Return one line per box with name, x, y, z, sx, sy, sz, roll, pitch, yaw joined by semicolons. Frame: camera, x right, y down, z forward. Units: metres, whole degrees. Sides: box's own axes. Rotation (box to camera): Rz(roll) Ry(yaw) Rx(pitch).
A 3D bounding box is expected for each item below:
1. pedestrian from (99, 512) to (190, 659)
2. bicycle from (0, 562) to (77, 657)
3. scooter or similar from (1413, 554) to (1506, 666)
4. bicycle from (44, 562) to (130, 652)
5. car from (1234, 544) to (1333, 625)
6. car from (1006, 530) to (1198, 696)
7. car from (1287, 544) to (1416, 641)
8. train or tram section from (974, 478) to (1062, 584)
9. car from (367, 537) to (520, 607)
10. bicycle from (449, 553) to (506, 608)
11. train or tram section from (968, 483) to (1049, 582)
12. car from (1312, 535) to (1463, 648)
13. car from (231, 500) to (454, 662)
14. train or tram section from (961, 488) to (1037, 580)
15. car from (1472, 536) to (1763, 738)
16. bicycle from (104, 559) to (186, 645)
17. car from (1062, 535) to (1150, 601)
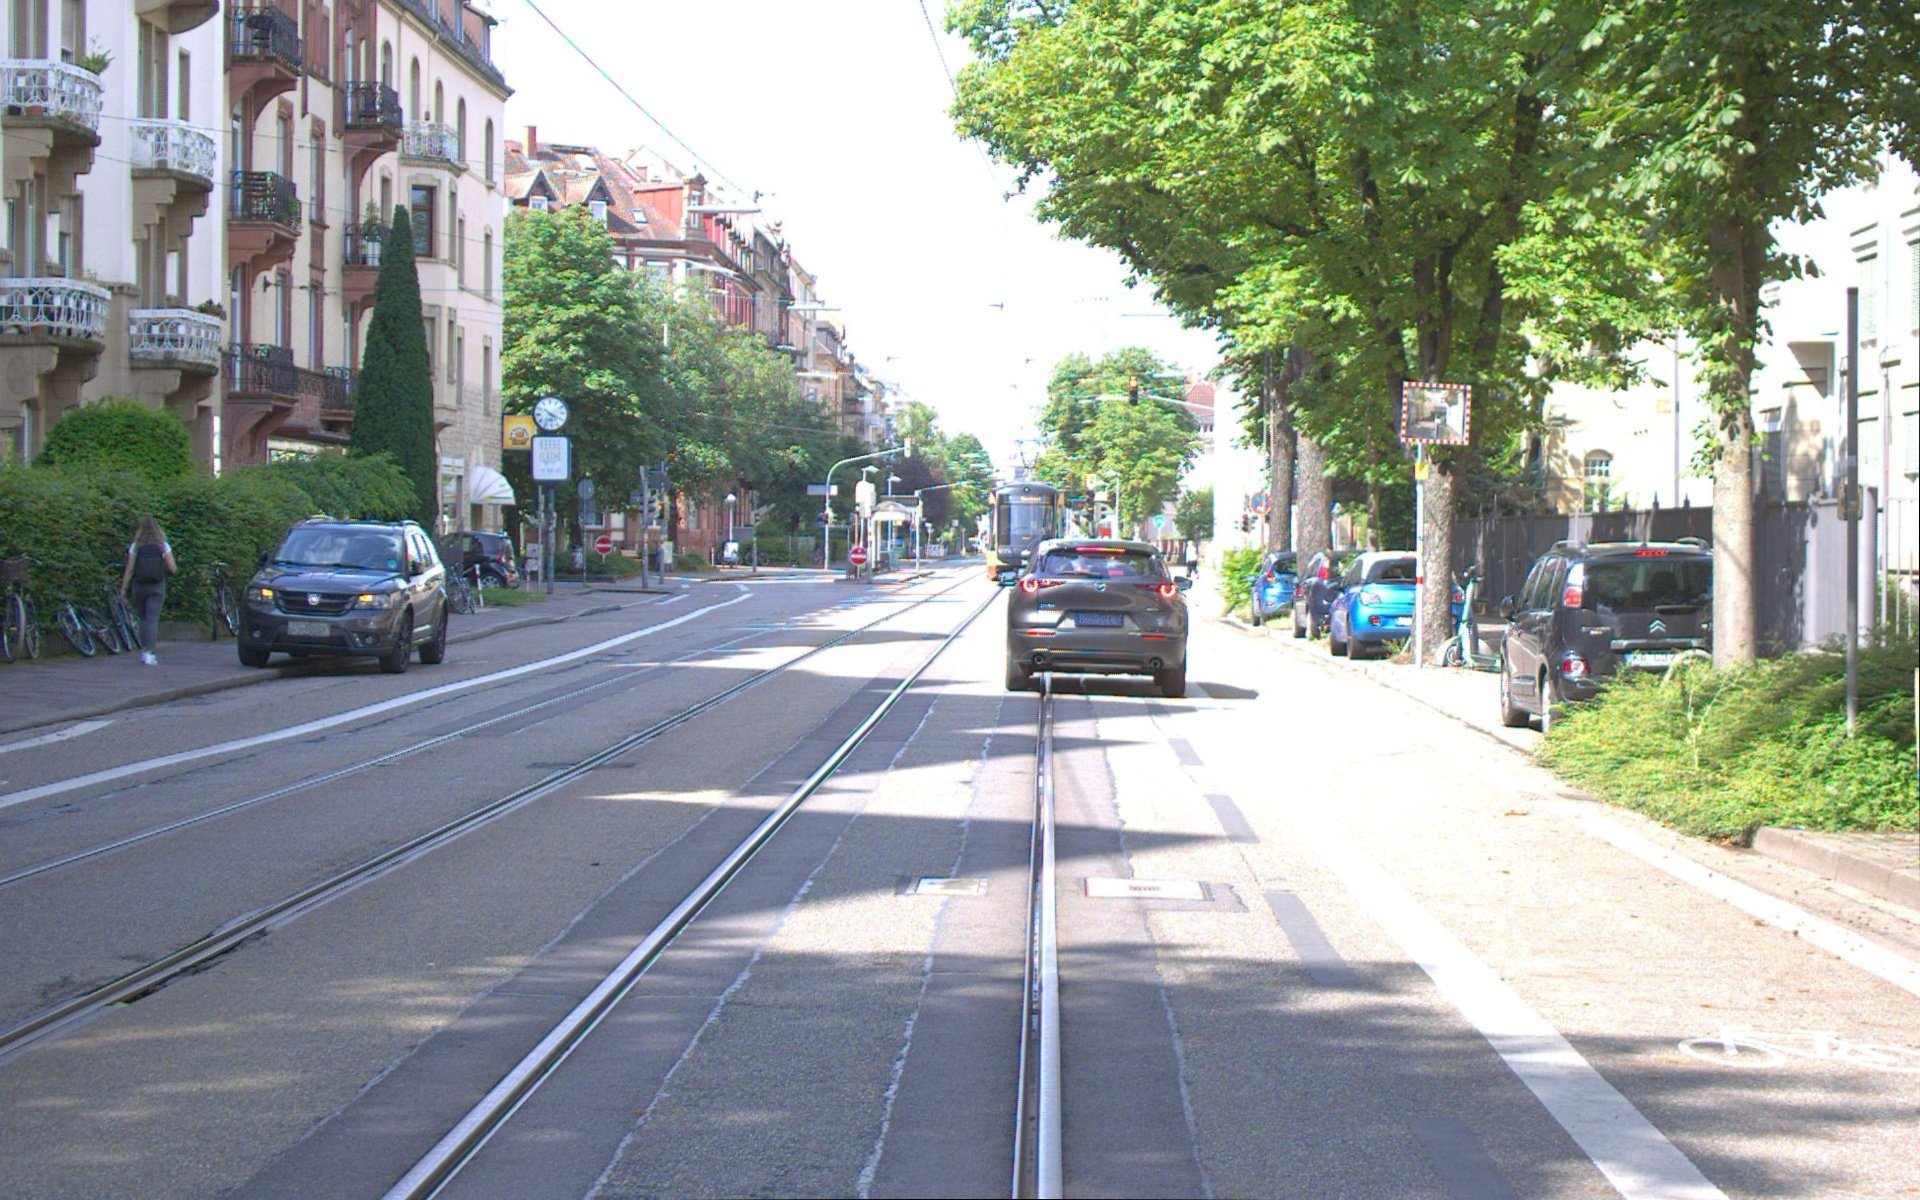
pedestrian;-8.932;-0.160;37.670;0.680;1.563;0.882;3;1;4
bicycle;-9.871;0.089;36.528;0.383;0.956;1.810;2;1;3
scooter or similar;5.999;0.111;41.315;0.440;1.295;1.182;-4;3;-29
bicycle;-9.794;0.063;38.618;0.383;0.956;1.810;2;1;3
car;6.247;-0.319;66.608;1.624;1.491;3.848;-1;1;1
car;1.399;0.082;35.336;1.789;1.507;4.351;2;2;0
car;6.358;-0.151;56.155;1.639;1.491;3.758;-1;1;0
train or tram section;1.947;-2.353;118.323;2.652;3.515;8.497;0;1;-2
car;-12.209;-0.662;81.400;3.237;1.508;1.678;2;1;5
bicycle;-8.931;-0.353;63.685;0.511;0.956;1.814;4;0;8
train or tram section;1.727;-2.463;126.819;2.652;3.515;8.497;0;1;-2
car;5.950;-0.147;48.154;1.639;1.491;3.627;-1;1;0
car;-7.083;-0.258;39.884;1.785;1.756;4.883;0;1;-1
train or tram section;1.499;-2.566;135.328;2.652;3.515;8.497;0;1;-2
car;5.558;0.270;29.525;1.697;1.585;4.203;-1;1;0
bicycle;-9.653;0.013;40.752;0.383;0.956;1.921;2;1;3
car;3.420;-0.779;81.283;1.785;1.487;4.883;0;1;-1
